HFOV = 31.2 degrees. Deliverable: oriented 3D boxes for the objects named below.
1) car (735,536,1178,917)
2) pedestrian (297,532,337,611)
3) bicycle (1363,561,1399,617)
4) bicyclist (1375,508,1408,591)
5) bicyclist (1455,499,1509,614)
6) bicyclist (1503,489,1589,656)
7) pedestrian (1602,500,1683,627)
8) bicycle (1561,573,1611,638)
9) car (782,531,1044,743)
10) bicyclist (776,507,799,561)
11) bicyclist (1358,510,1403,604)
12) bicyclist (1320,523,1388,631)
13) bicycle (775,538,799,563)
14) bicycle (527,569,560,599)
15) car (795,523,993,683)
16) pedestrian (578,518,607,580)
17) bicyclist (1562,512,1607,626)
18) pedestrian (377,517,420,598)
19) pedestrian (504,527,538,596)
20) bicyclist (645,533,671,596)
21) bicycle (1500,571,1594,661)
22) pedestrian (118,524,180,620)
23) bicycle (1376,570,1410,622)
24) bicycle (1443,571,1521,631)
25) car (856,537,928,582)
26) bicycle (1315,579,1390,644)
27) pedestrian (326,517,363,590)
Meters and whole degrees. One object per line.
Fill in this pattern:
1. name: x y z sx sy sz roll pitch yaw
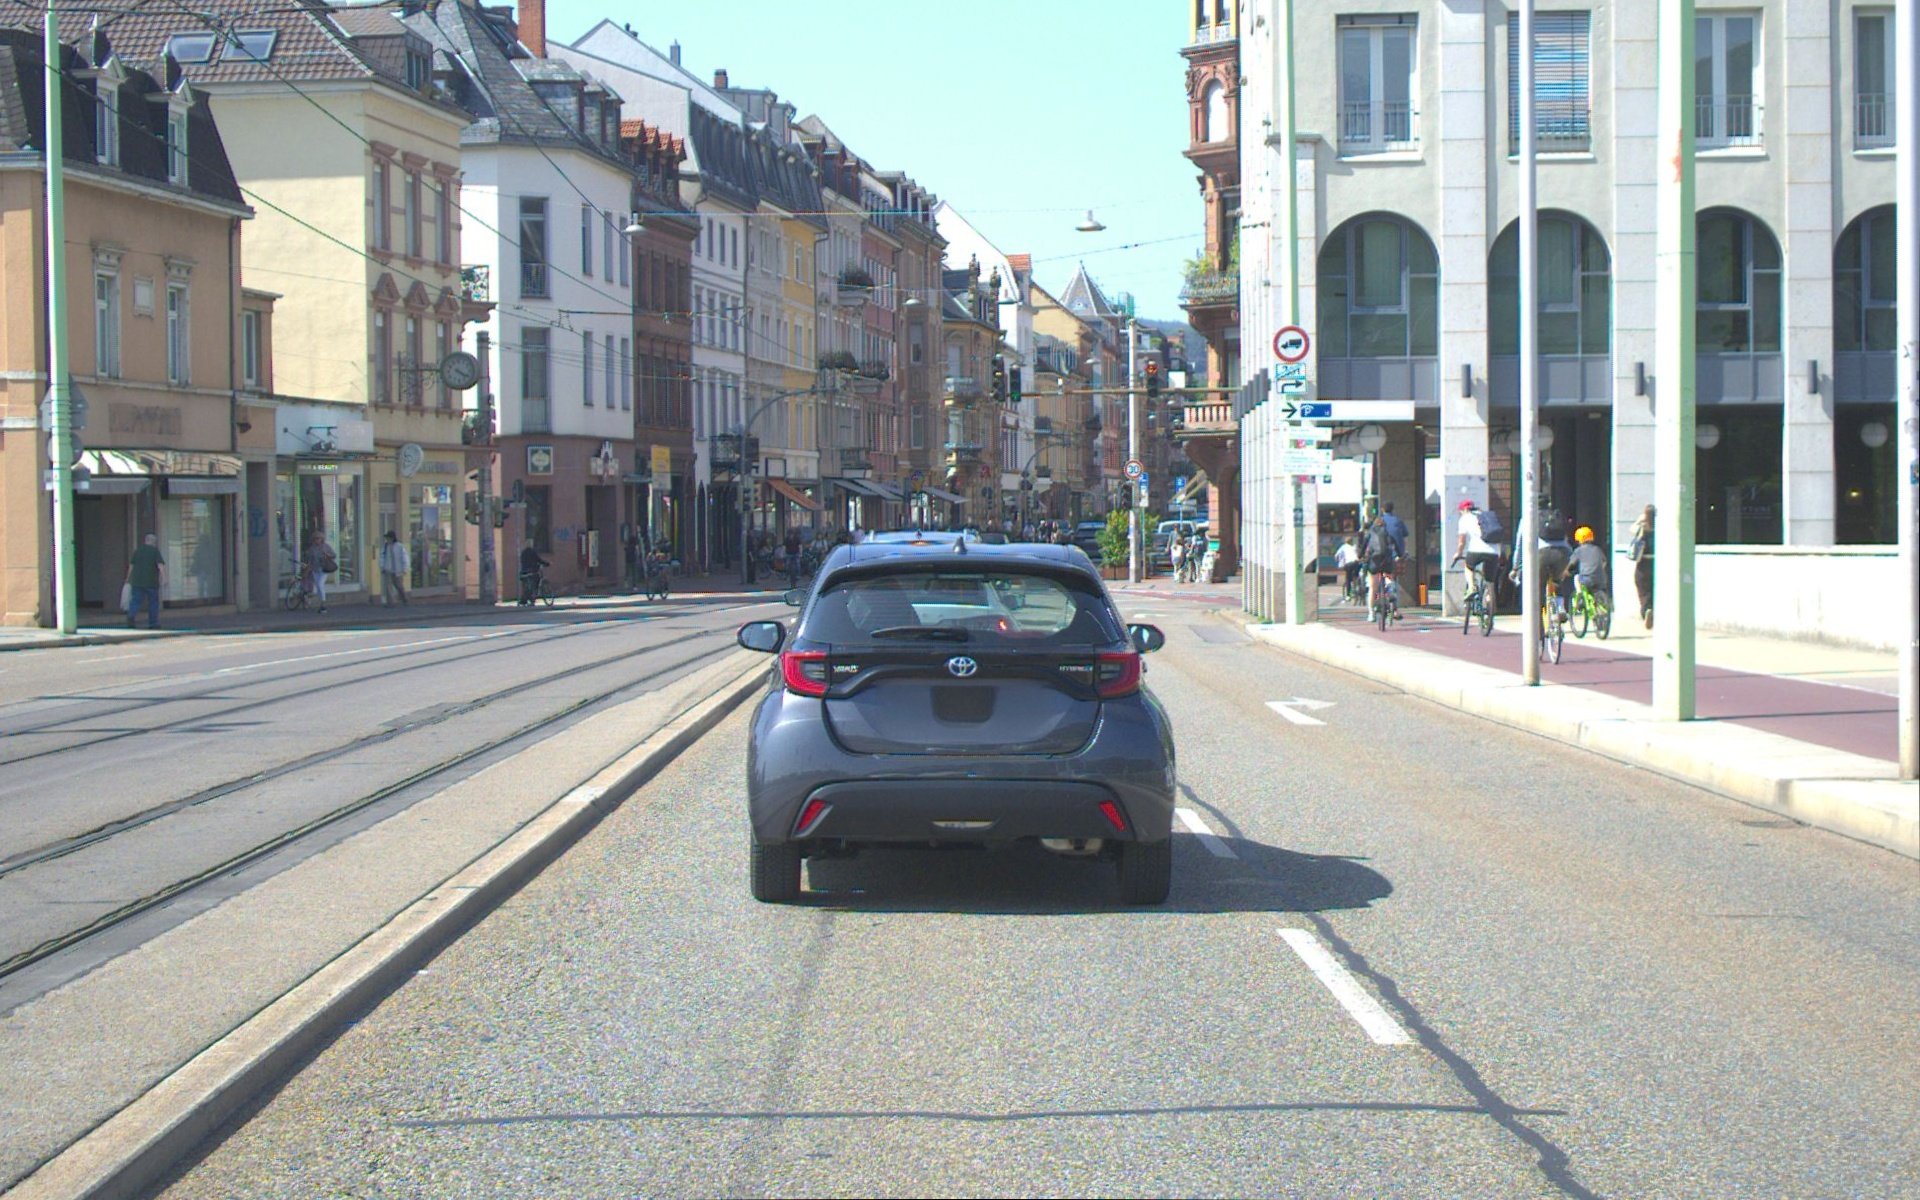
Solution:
1. car: -0.031 0.464 15.363 1.720 1.468 3.658 1 1 -1
2. pedestrian: -13.552 -0.601 72.494 0.649 1.596 0.566 4 3 0
3. bicycle: 6.018 -0.160 49.124 0.416 0.763 1.205 -2 1 4
4. bicyclist: 6.601 -0.776 52.611 0.422 1.252 0.443 -2 1 3
5. bicyclist: 6.782 -0.565 44.675 0.484 1.461 0.443 -3 1 -39
6. bicyclist: 6.030 -0.289 35.413 0.701 1.689 0.924 -1 1 0
7. pedestrian: 8.962 -0.480 45.180 0.739 1.609 1.016 4 1 -1
8. bicycle: 7.698 0.059 42.303 0.416 0.763 0.962 -2 1 0
9. car: -0.366 0.229 27.189 1.897 1.525 4.000 1 1 -1
10. bicyclist: -5.312 -2.036 105.874 0.627 1.644 0.622 1 2 1
11. bicyclist: 6.004 -0.623 49.057 0.538 1.312 0.672 -2 1 3
12. bicyclist: 9.508 -0.568 82.975 1.228 2.520 1.105 4 1 -7
13. bicycle: -5.327 -1.531 105.897 0.620 0.713 1.731 1 2 0
14. bicycle: -10.700 -0.418 88.297 0.620 0.713 1.771 1 2 0
15. car: -0.663 -0.008 35.376 1.897 1.525 4.000 1 1 -1
16. pedestrian: -10.637 -1.484 99.583 0.736 1.760 0.787 0 2 0
17. bicyclist: 7.680 -0.379 42.298 0.422 1.378 0.443 -2 1 0
18. pedestrian: -12.620 -0.956 77.293 0.736 1.760 0.787 4 1 0
19. pedestrian: -11.250 -0.993 88.136 0.736 1.760 0.787 0 2 0
20. bicyclist: -8.122 -0.955 92.465 0.627 1.644 0.622 1 2 1
21. bicycle: 6.044 0.157 35.443 0.704 0.879 1.525 -1 1 1
22. pedestrian: -14.312 -0.494 60.678 0.762 1.648 0.711 4 1 7
23. bicycle: 6.623 -0.071 52.584 0.416 0.763 0.962 -2 1 3
24. bicycle: 6.784 0.014 44.699 0.416 0.763 0.961 -3 1 -39
25. car: -2.220 -1.360 113.720 1.731 1.455 4.372 0 1 7
26. bicycle: 9.476 0.256 83.226 1.112 1.415 3.008 4 1 -5
27. pedestrian: -13.976 -1.055 78.099 0.649 1.596 0.566 4 3 0
